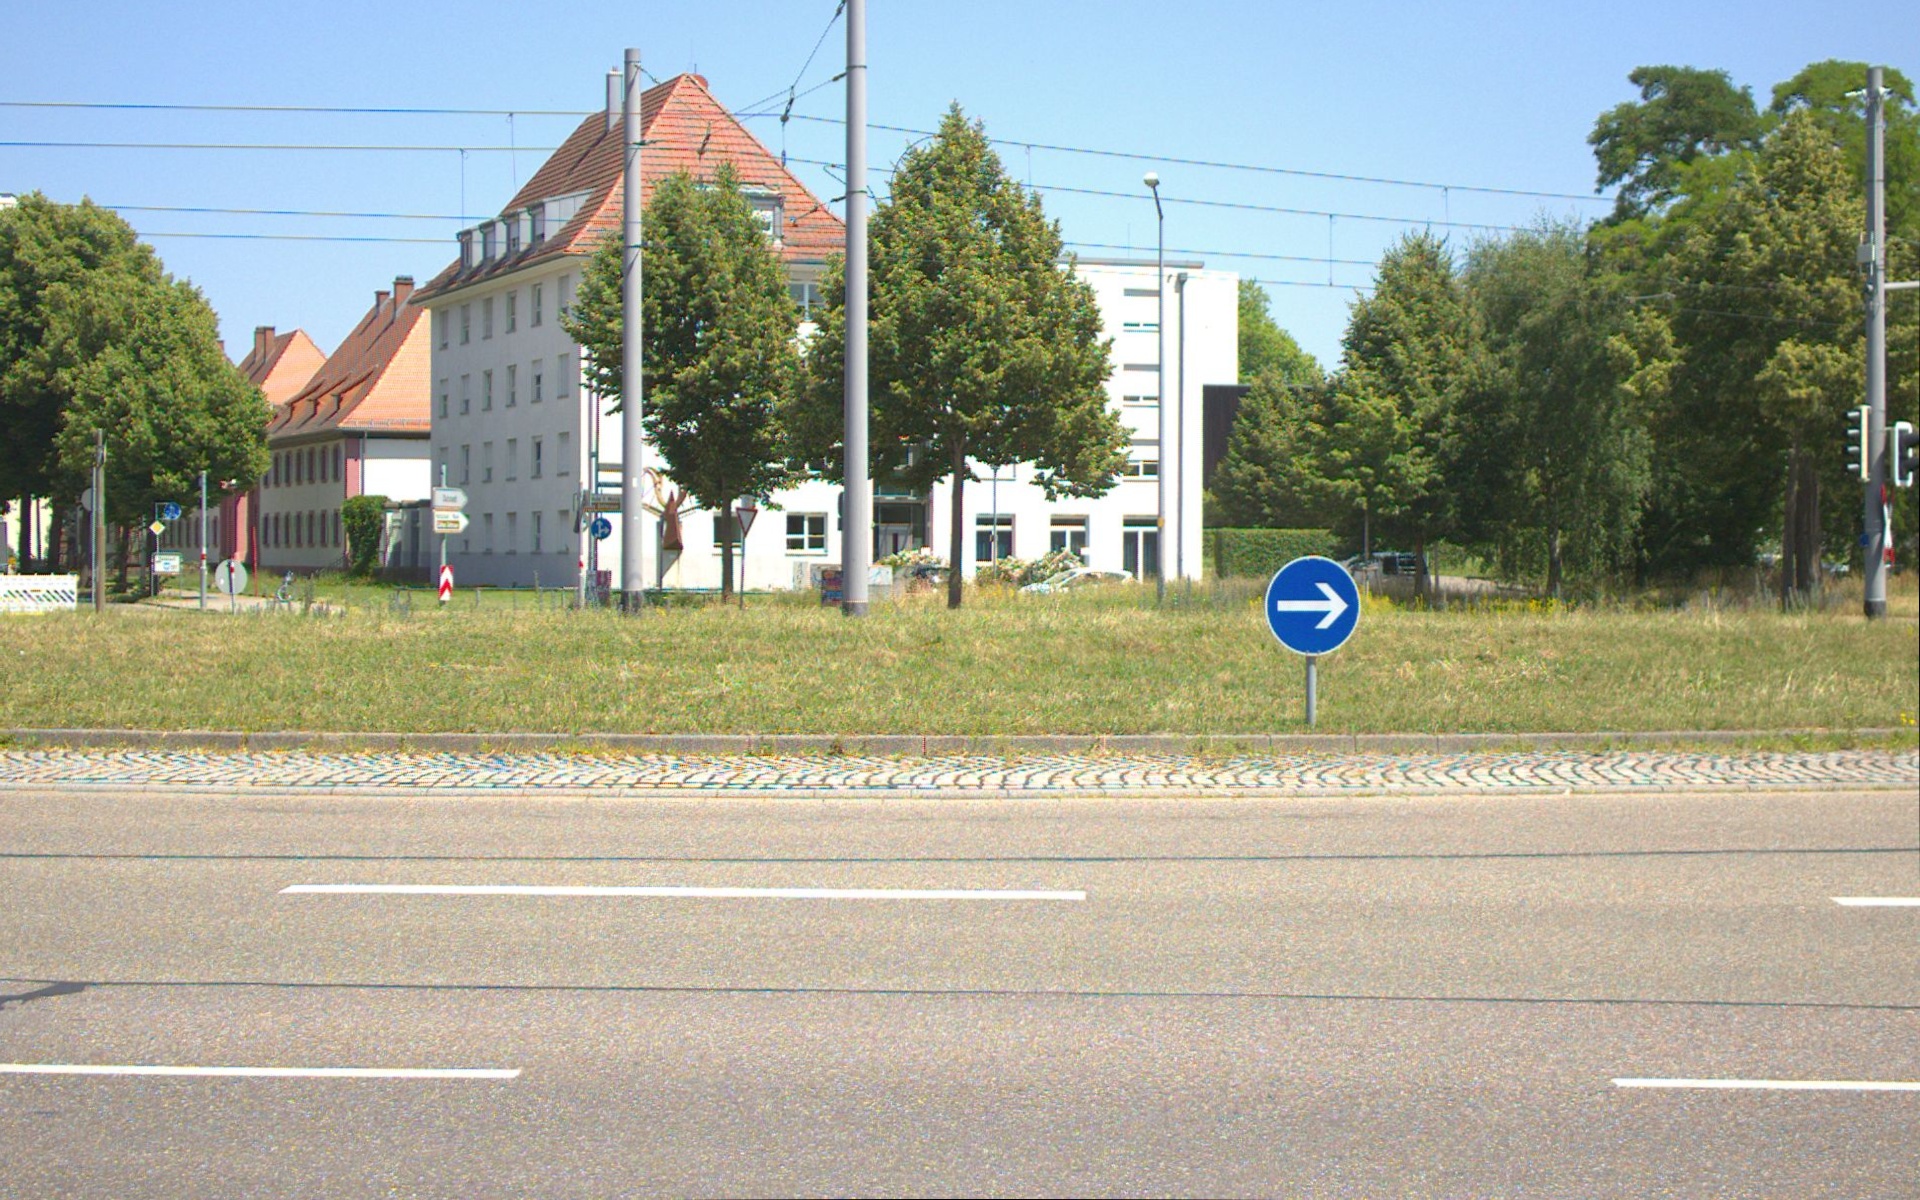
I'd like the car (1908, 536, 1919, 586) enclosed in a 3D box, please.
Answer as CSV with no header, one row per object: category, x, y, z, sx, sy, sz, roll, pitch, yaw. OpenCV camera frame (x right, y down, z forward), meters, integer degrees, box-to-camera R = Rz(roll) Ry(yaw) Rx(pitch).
car,32.366,-1.166,108.957,3.995,1.568,1.996,2,0,34

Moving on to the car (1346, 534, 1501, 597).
car,13.503,-1.008,100.242,3.985,1.678,2.001,2,0,-14

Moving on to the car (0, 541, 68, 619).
car,-25.299,-0.560,93.398,1.993,2.007,4.001,2,0,-15

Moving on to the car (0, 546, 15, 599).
car,-37.733,-1.110,133.282,1.993,2.007,4.001,2,0,-15

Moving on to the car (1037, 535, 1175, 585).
car,4.519,-1.220,106.391,3.886,1.415,1.717,2,0,-15

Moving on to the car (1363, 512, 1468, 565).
car,18.395,-2.468,138.689,3.989,2.007,1.999,2,0,13
